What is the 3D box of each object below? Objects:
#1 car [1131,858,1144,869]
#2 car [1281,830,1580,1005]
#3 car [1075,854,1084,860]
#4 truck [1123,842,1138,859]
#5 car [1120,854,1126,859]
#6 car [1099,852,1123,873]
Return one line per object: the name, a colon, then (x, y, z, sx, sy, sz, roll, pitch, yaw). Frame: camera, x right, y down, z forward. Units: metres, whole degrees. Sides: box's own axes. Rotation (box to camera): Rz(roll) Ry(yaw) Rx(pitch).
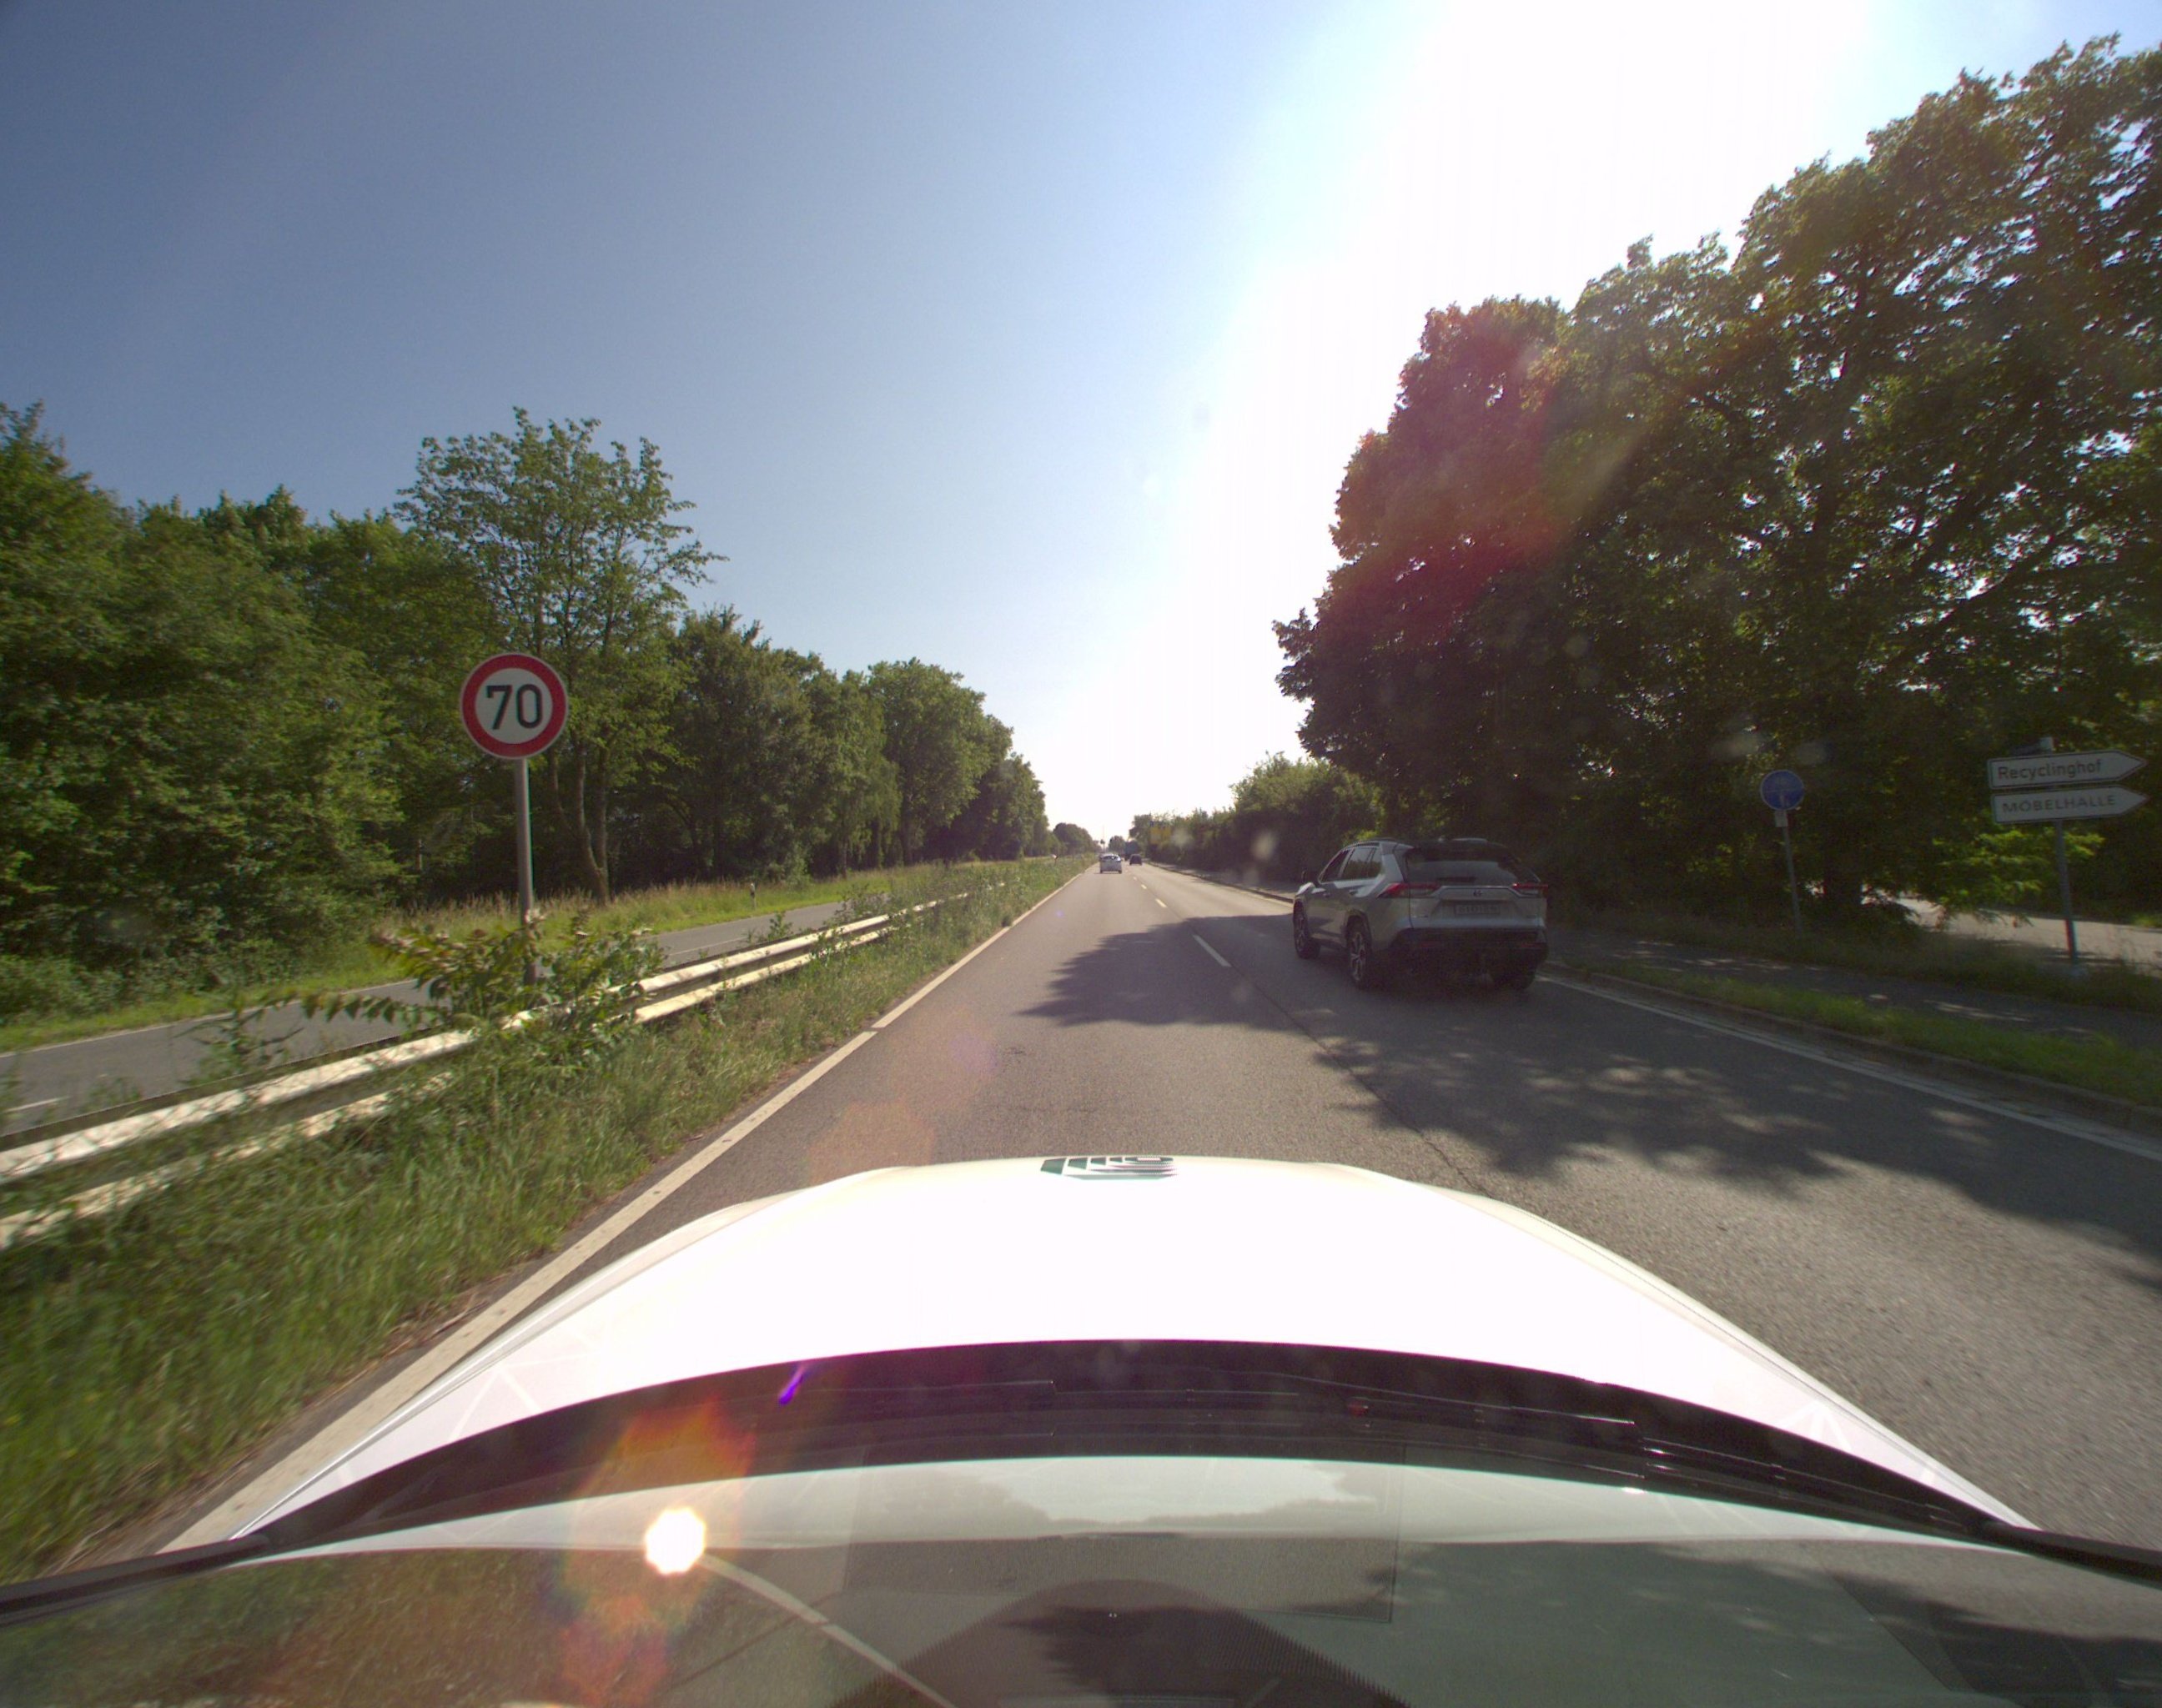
car: (7.444, 1.233, 107.563, 1.566, 1.414, 3.279, 0, -1, 2)
car: (3.977, 0.620, 10.269, 1.894, 1.680, 4.685, 1, 0, 2)
car: (-0.425, 0.717, 210.797, 1.770, 1.530, 4.166, -2, 0, 5)
truck: (9.936, -0.698, 164.681, 2.880, 3.428, 9.174, -1, 0, 2)
car: (13.114, 0.793, 253.396, 1.804, 1.464, 4.465, -2, -1, 4)
car: (2.349, 0.645, 63.679, 1.791, 1.552, 4.003, 0, 0, 3)
